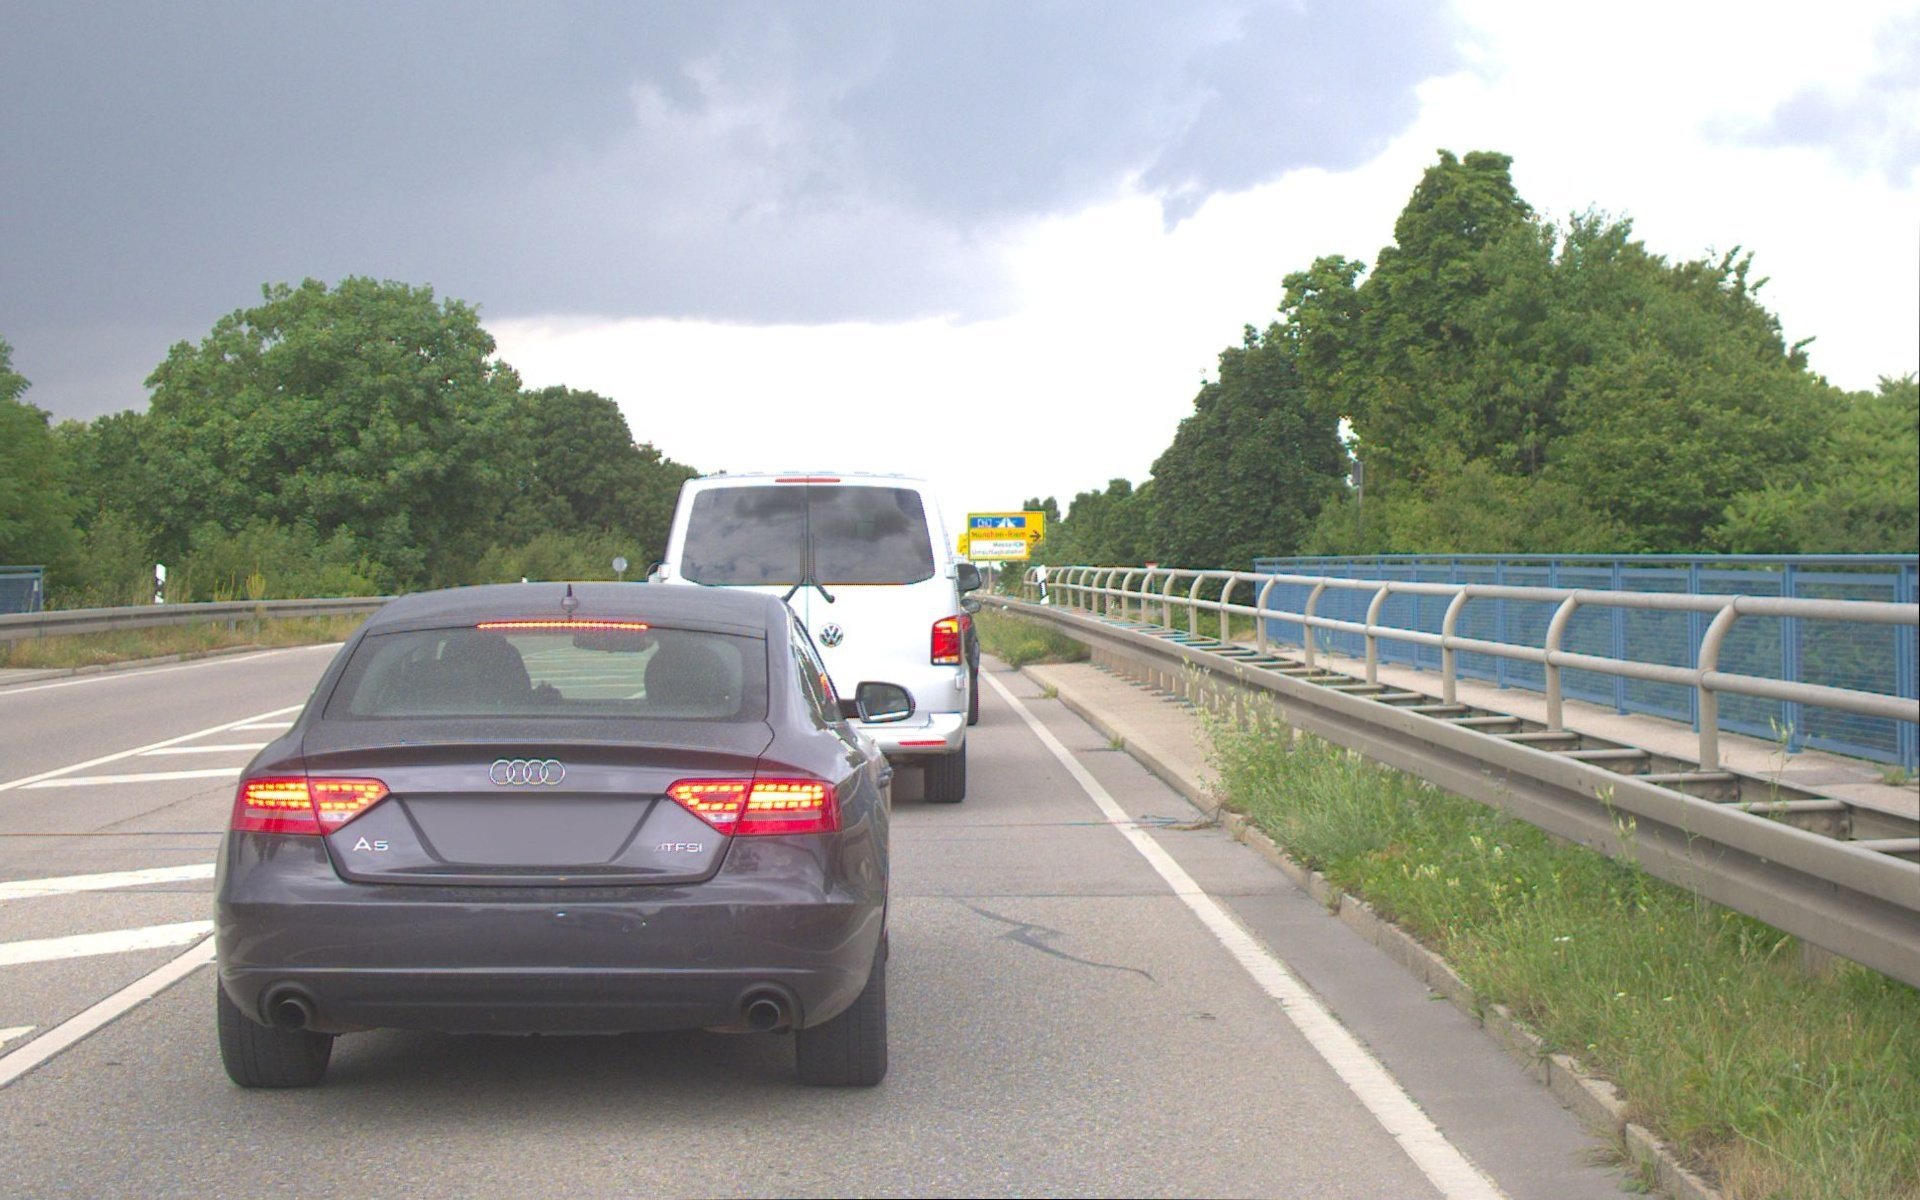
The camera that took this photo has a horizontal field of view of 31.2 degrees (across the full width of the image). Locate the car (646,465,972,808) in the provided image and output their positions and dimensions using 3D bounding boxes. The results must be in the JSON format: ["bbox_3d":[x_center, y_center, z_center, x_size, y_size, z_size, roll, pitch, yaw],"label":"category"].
[{"bbox_3d":[-0.901,0.185,21.451,1.828,1.929,4.000,0,1,-1],"label":"car"}]

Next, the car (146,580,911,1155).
[{"bbox_3d":[-1.093,0.648,10.510,1.821,1.376,4.072,1,1,0],"label":"car"}]

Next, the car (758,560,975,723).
[{"bbox_3d":[-0.790,0.327,30.948,1.821,1.376,4.072,0,1,0],"label":"car"}]
